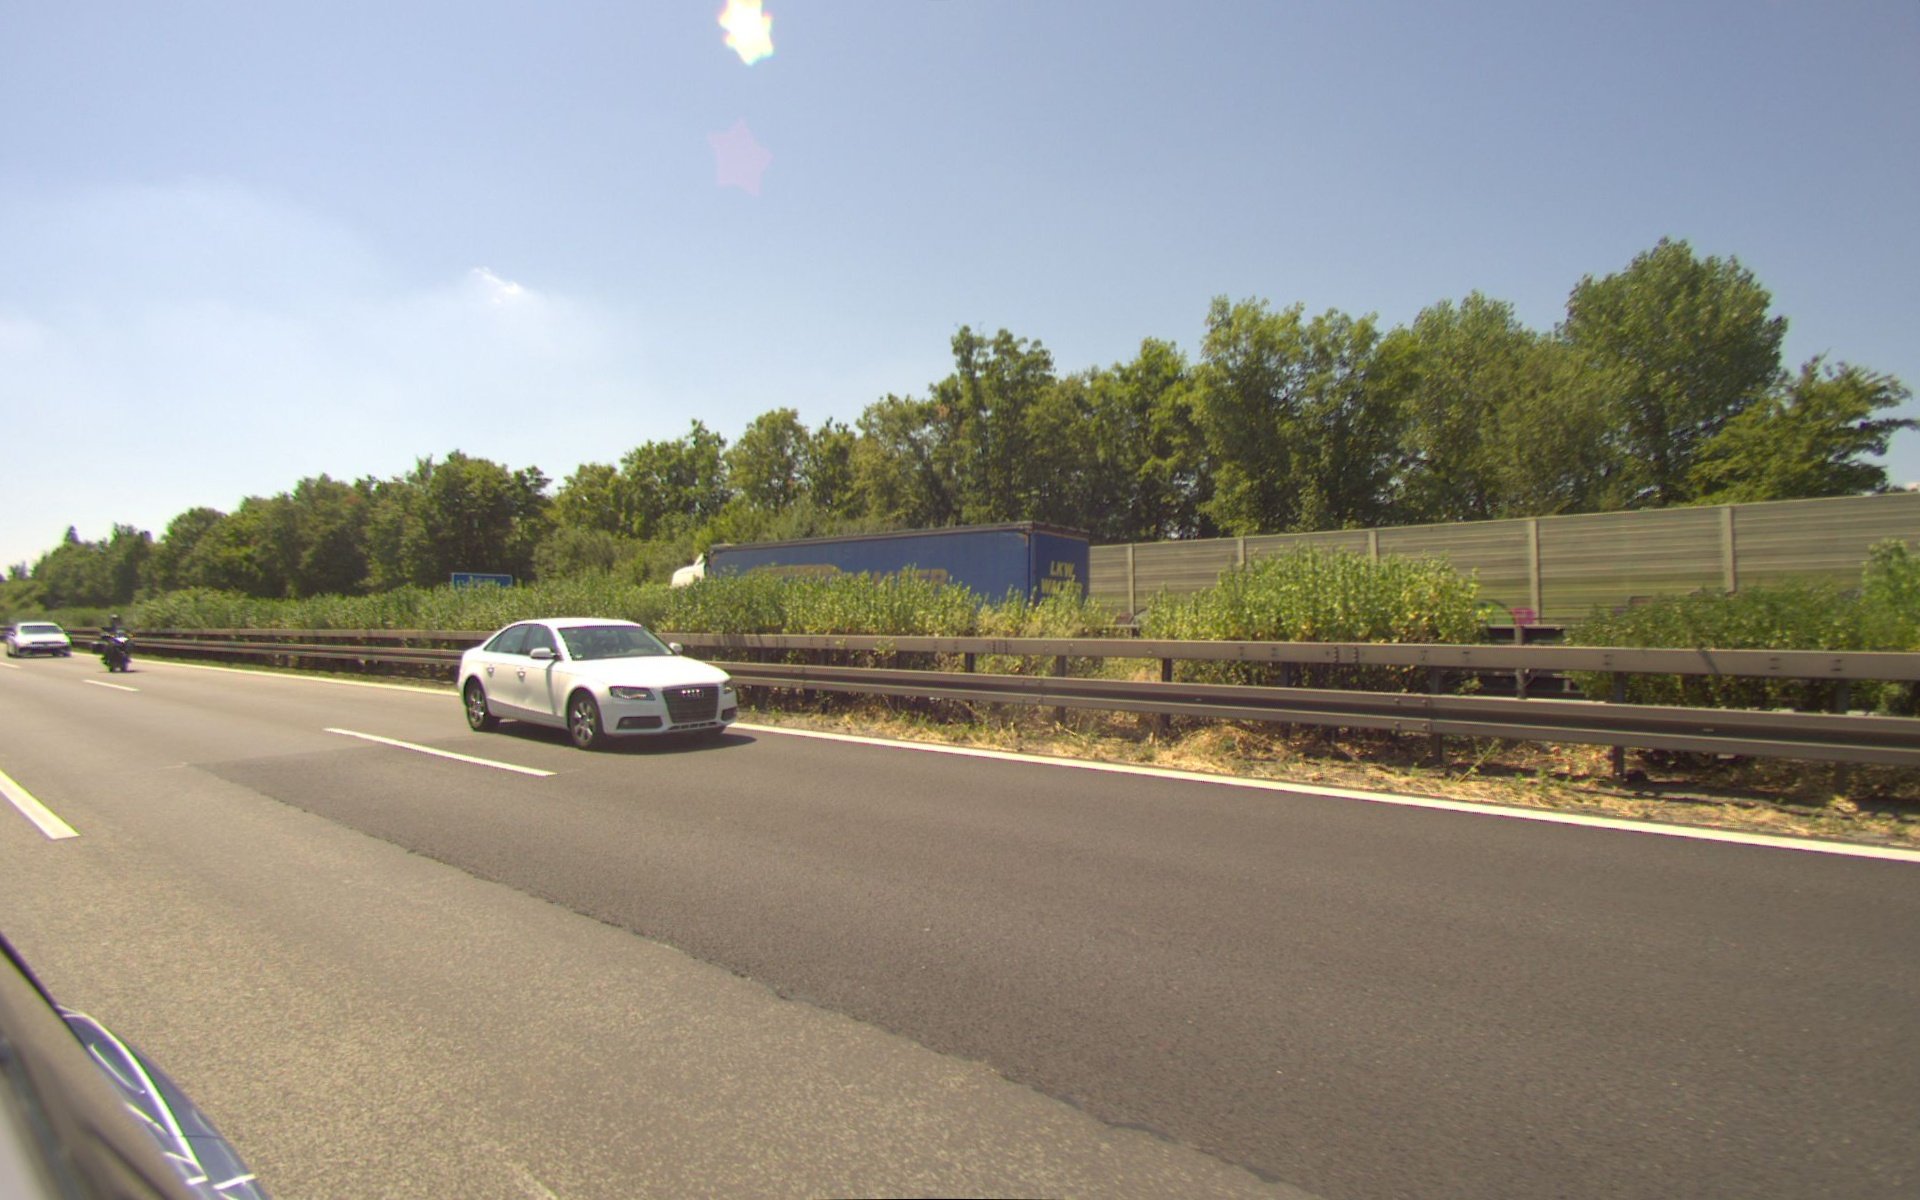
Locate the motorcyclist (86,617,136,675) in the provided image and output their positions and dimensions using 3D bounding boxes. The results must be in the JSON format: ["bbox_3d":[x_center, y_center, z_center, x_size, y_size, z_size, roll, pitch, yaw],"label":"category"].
[{"bbox_3d":[-24.786,1.329,29.534,1.298,1.609,0.884,0,2,41],"label":"motorcyclist"}]

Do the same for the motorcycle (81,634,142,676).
[{"bbox_3d":[-24.759,1.585,29.517,2.848,1.097,0.903,-1,0,41],"label":"motorcycle"}]

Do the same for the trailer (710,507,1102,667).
[{"bbox_3d":[-2.295,-0.197,30.076,13.667,3.881,2.677,-1,-1,41],"label":"trailer"}]

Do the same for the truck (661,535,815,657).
[{"bbox_3d":[-7.699,-0.073,34.863,5.089,3.882,2.643,-2,-1,41],"label":"truck"}]

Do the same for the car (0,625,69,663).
[{"bbox_3d":[-38.796,1.800,42.342,4.668,1.451,1.763,-2,-1,42],"label":"car"}]

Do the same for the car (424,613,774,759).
[{"bbox_3d":[-4.679,0.931,12.629,5.123,1.451,1.857,-1,-1,41],"label":"car"}]
